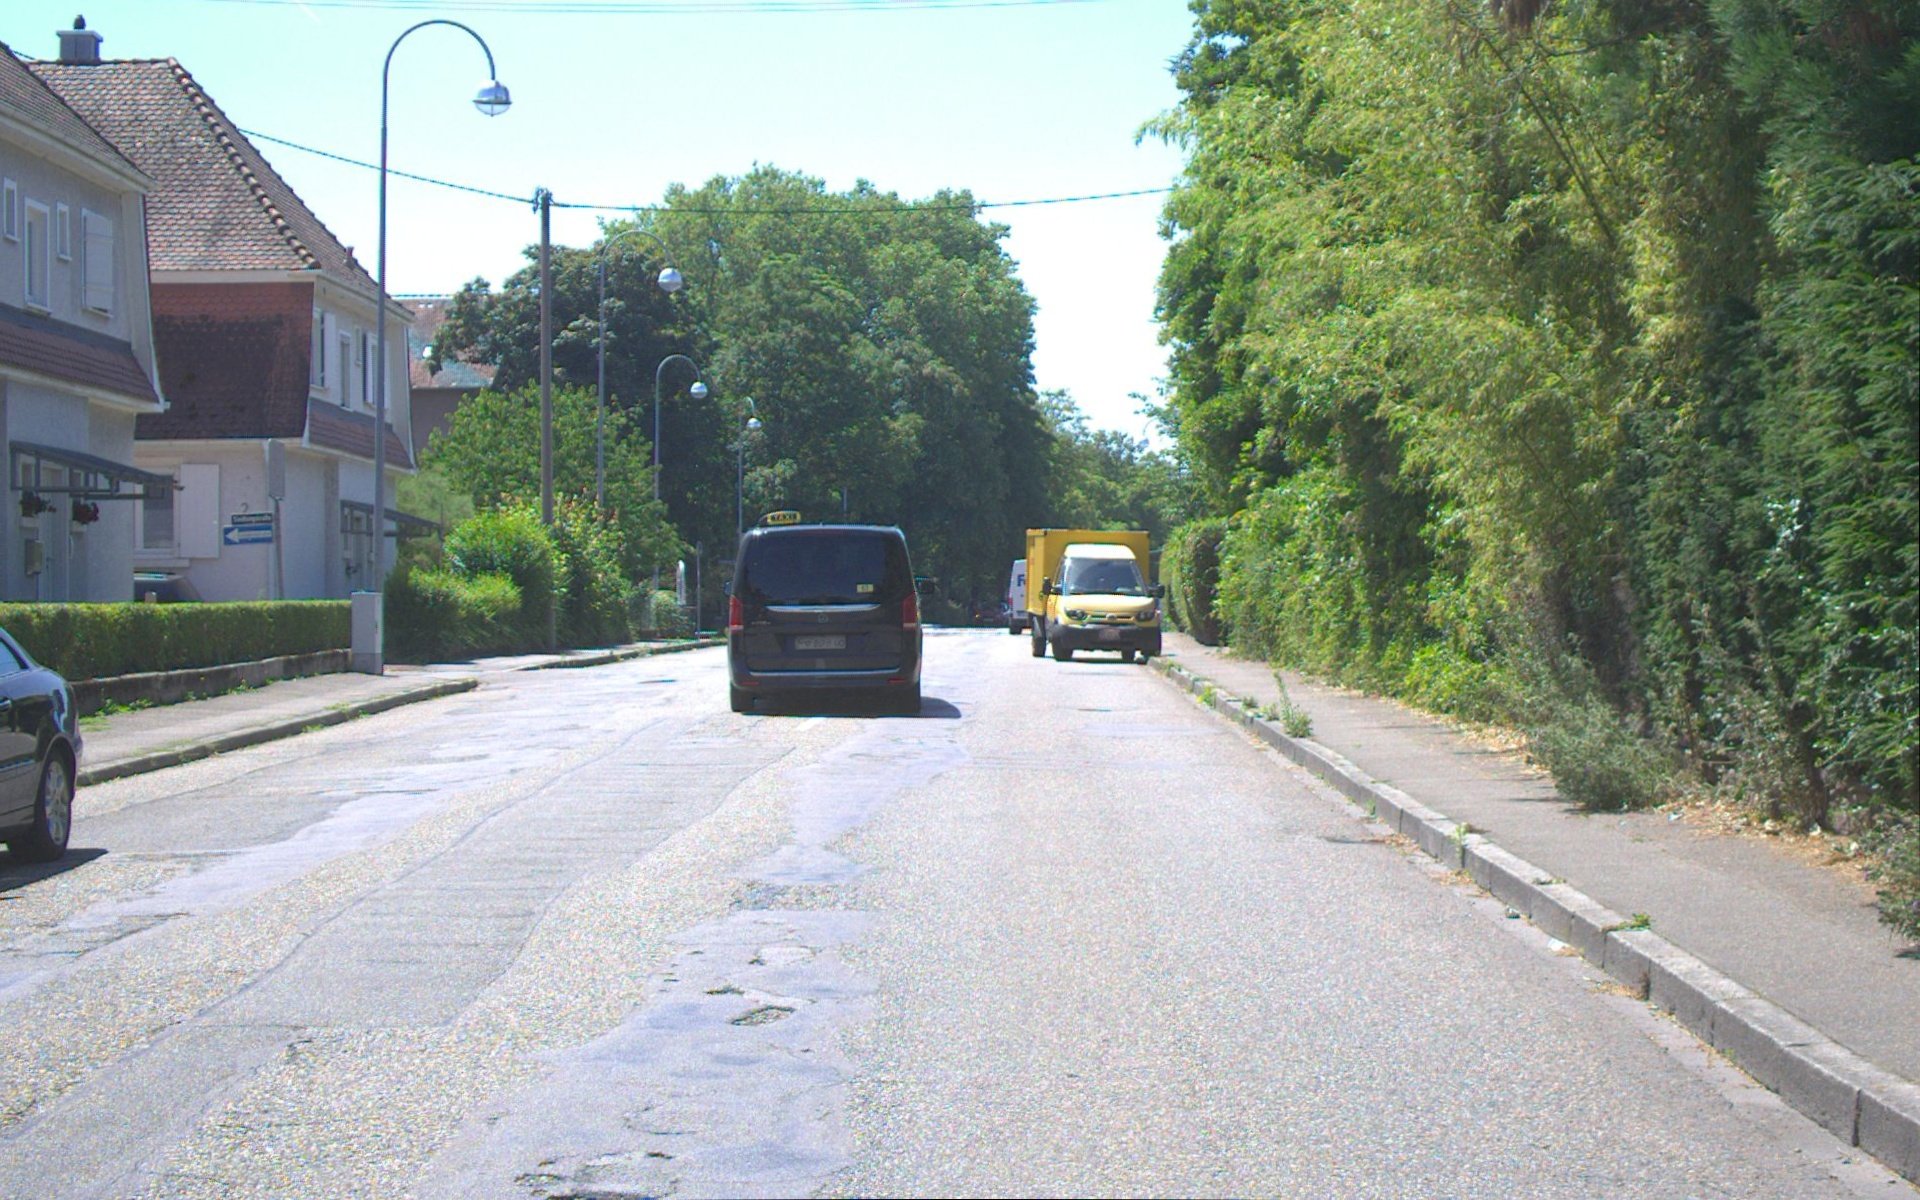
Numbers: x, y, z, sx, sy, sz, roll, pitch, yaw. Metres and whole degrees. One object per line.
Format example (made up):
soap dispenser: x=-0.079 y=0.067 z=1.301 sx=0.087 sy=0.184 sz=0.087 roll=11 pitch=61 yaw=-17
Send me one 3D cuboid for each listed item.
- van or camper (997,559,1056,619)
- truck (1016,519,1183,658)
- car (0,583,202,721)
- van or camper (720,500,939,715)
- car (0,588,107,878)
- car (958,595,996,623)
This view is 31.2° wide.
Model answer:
van or camper: x=2.295 y=-0.374 z=118.879 sx=1.993 sy=2.007 sz=4.000 roll=0 pitch=0 yaw=1
truck: x=2.336 y=-0.201 z=59.378 sx=2.355 sy=2.251 sz=6.092 roll=0 pitch=0 yaw=-3
car: x=-13.081 y=0.746 z=49.507 sx=3.867 sy=1.898 sz=1.880 roll=-1 pitch=0 yaw=1
van or camper: x=-1.250 y=0.053 z=35.044 sx=1.903 sy=2.007 sz=5.270 roll=1 pitch=0 yaw=1
car: x=-5.495 y=0.684 z=16.374 sx=1.666 sy=1.381 sz=4.380 roll=-2 pitch=1 yaw=1
car: x=0.952 y=0.479 z=188.459 sx=1.549 sy=1.444 sz=3.004 roll=2 pitch=1 yaw=10
